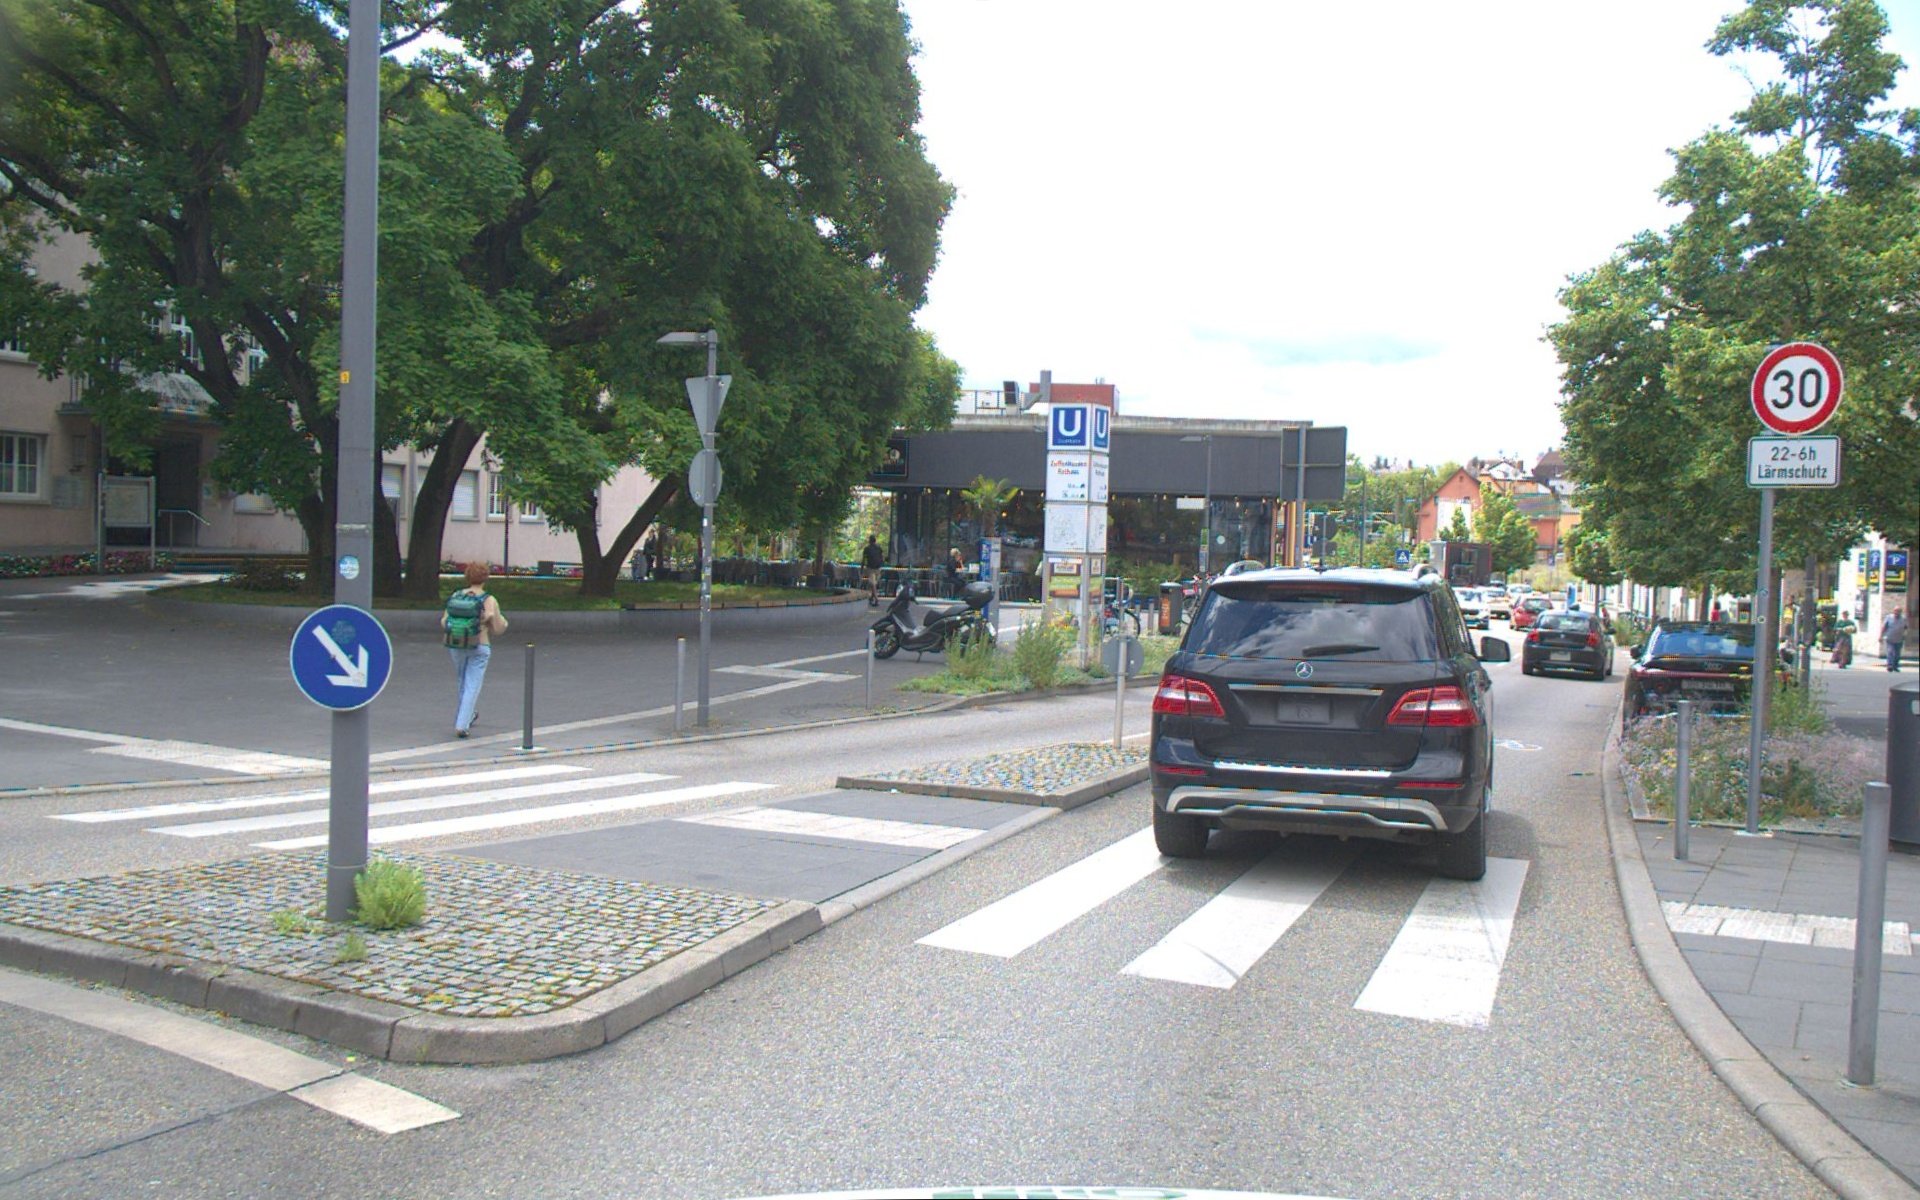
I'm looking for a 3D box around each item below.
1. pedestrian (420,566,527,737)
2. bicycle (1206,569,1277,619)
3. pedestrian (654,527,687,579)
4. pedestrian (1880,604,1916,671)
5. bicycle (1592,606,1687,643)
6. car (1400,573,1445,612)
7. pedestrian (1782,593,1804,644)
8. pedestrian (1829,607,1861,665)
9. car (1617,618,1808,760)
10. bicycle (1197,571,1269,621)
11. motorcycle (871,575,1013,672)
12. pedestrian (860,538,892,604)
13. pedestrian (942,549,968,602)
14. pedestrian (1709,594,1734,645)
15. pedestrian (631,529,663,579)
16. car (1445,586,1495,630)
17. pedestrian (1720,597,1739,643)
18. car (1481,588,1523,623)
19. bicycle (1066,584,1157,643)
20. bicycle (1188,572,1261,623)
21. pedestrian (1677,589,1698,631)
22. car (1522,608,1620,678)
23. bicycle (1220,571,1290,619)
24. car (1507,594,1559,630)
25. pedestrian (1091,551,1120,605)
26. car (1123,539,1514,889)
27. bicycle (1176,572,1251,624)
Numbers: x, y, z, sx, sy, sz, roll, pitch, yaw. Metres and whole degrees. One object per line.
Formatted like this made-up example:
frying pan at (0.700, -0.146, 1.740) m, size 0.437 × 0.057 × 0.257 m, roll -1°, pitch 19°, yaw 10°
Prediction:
pedestrian at (-4.588, 0.466, 15.619) m, size 0.540 × 1.540 × 0.786 m, roll 4°, pitch 3°, yaw 31°
bicycle at (6.659, -0.140, 39.088) m, size 1.536 × 1.110 × 0.578 m, roll 2°, pitch 0°, yaw 24°
pedestrian at (-9.282, -1.508, 53.006) m, size 0.770 × 1.656 × 0.636 m, roll 1°, pitch 0°, yaw 22°
pedestrian at (23.513, 0.935, 41.473) m, size 0.618 × 1.655 × 0.700 m, roll 2°, pitch 0°, yaw 20°
bicycle at (23.557, 0.850, 57.401) m, size 2.996 × 1.166 × 0.710 m, roll 2°, pitch 0°, yaw 19°
car at (24.647, -0.427, 88.202) m, size 1.802 × 1.890 × 4.502 m, roll 4°, pitch 2°, yaw 11°
pedestrian at (28.824, 0.635, 57.252) m, size 0.547 × 1.721 × 0.639 m, roll 2°, pitch 0°, yaw 20°
pedestrian at (25.139, 1.021, 46.995) m, size 0.696 × 1.590 × 0.568 m, roll 2°, pitch 0°, yaw 20°
car at (8.816, 0.947, 19.472) m, size 1.819 × 1.430 × 4.372 m, roll 1°, pitch 0°, yaw 24°
bicycle at (6.316, -0.090, 38.273) m, size 1.536 × 1.110 × 0.578 m, roll 2°, pitch 0°, yaw 24°
motorcycle at (-0.286, 0.339, 25.236) m, size 2.091 × 1.311 × 0.583 m, roll 4°, pitch 3°, yaw 26°
pedestrian at (-2.076, -0.709, 40.926) m, size 0.601 × 1.604 × 0.583 m, roll 1°, pitch 0°, yaw 13°
pedestrian at (-0.136, -0.668, 44.452) m, size 0.568 × 1.403 × 0.616 m, roll 1°, pitch 0°, yaw 11°
pedestrian at (25.958, 0.660, 56.399) m, size 0.649 × 1.712 × 0.568 m, roll 2°, pitch 0°, yaw 17°
pedestrian at (-10.246, -1.511, 54.189) m, size 0.770 × 1.604 × 0.636 m, roll 1°, pitch 0°, yaw 22°
car at (21.110, 0.295, 68.577) m, size 1.802 × 1.635 × 4.003 m, roll 5°, pitch 2°, yaw 16°
pedestrian at (29.151, 0.766, 62.685) m, size 0.547 × 1.712 × 0.568 m, roll 2°, pitch 0°, yaw 20°
car at (27.068, 0.251, 82.700) m, size 1.802 × 1.550 × 4.002 m, roll 5°, pitch 2°, yaw 17°
bicycle at (2.793, 0.247, 30.509) m, size 1.581 × 1.014 × 0.499 m, roll 2°, pitch 0°, yaw 30°
bicycle at (5.995, -0.066, 37.484) m, size 1.536 × 1.087 × 0.539 m, roll 2°, pitch 0°, yaw 24°
pedestrian at (29.588, 0.405, 67.259) m, size 0.547 × 1.712 × 0.568 m, roll 2°, pitch 0°, yaw 1°
car at (13.555, 0.913, 36.594) m, size 1.577 × 1.407 × 3.832 m, roll 2°, pitch 1°, yaw 27°
bicycle at (7.124, -0.119, 39.900) m, size 1.536 × 1.110 × 0.578 m, roll 2°, pitch 0°, yaw 24°
car at (23.752, 0.460, 68.639) m, size 1.574 × 1.407 × 3.840 m, roll 1°, pitch 1°, yaw 12°
pedestrian at (4.089, -0.614, 46.366) m, size 0.570 × 1.489 × 0.614 m, roll 2°, pitch 0°, yaw 31°
car at (2.508, 0.574, 10.794) m, size 1.985 × 1.757 × 4.435 m, roll 1°, pitch 0°, yaw 17°
bicycle at (5.641, -0.048, 36.799) m, size 1.536 × 1.110 × 0.578 m, roll 2°, pitch 0°, yaw 24°
